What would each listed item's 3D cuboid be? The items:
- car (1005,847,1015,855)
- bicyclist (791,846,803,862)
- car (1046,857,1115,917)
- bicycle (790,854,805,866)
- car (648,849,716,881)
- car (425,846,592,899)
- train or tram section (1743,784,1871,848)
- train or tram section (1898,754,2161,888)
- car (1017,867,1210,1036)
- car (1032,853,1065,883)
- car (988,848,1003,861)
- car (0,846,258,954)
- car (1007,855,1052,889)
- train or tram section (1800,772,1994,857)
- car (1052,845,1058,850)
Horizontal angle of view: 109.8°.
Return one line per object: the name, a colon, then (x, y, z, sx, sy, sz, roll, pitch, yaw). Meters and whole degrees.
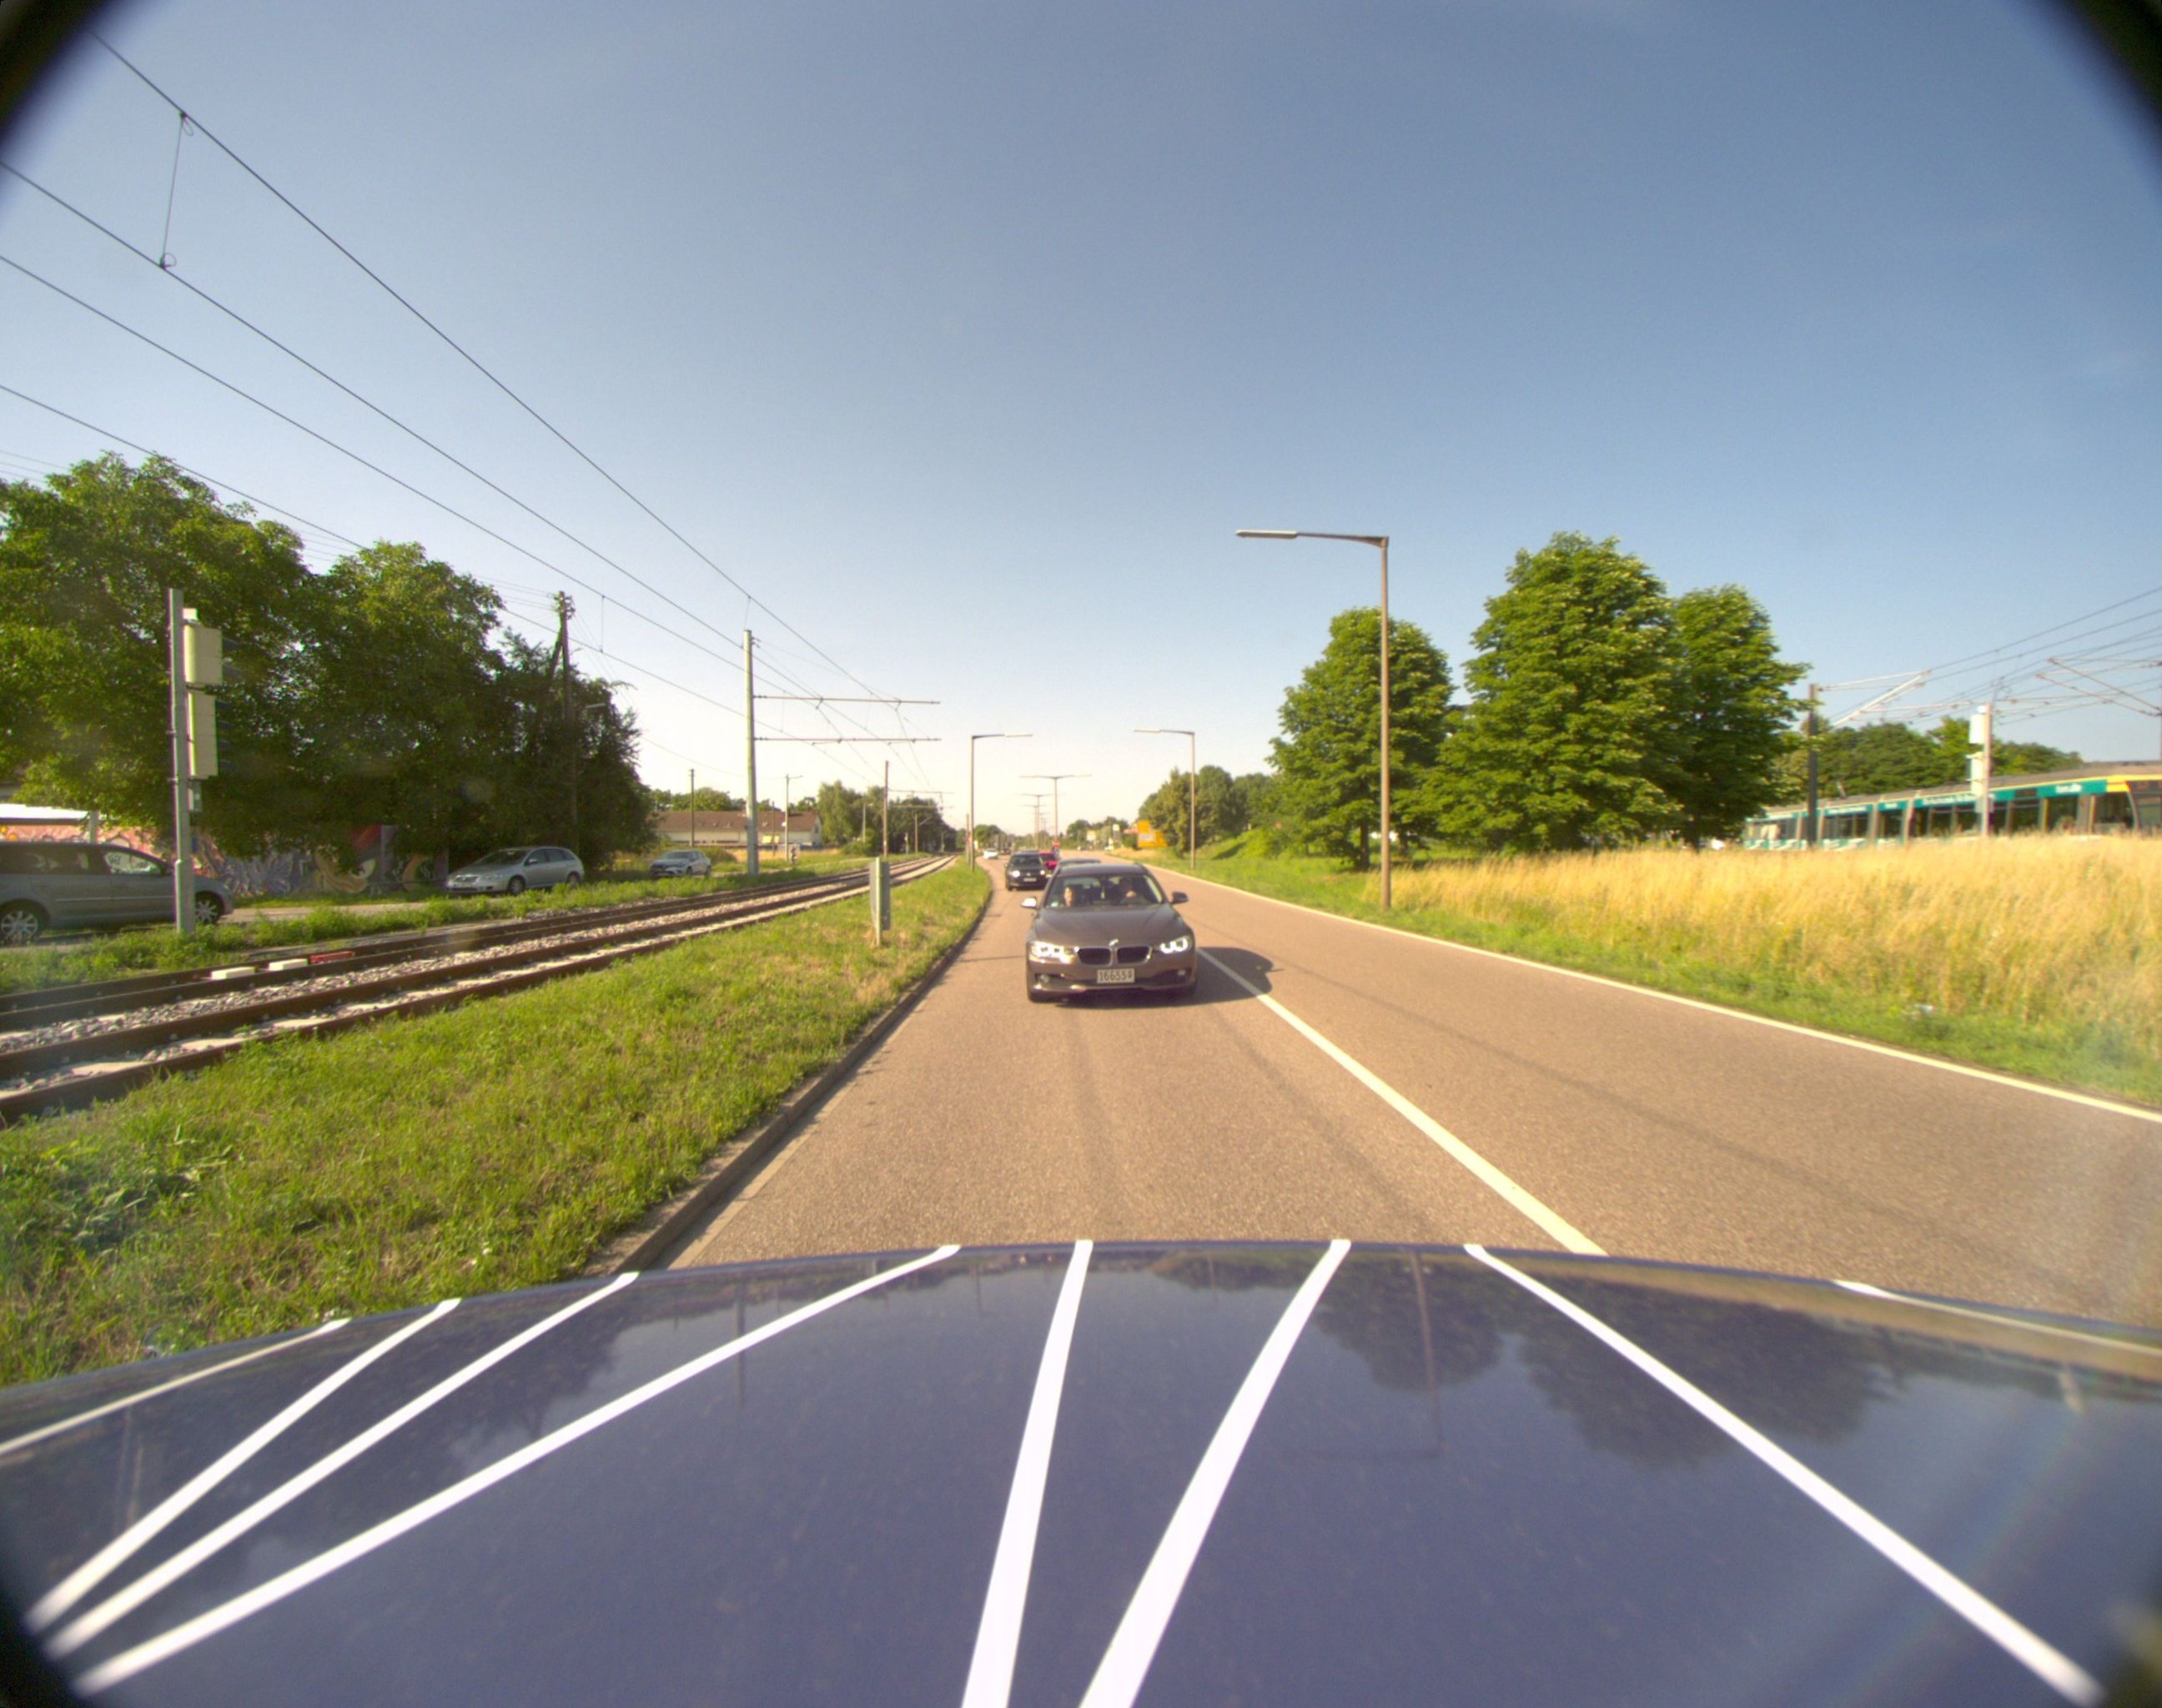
car: (-14.718, -0.623, 157.746, 1.838, 1.504, 4.150, -2, 1, -8)
bicyclist: (-22.249, -0.005, 59.580, 0.641, 1.226, 0.791, -2, 1, -5)
car: (0.001, 0.853, 21.474, 1.711, 1.444, 4.589, -2, 0, 0)
bicycle: (-22.239, 0.474, 59.612, 0.644, 0.904, 1.812, -2, 1, -5)
car: (-19.246, 0.479, 36.849, 1.539, 1.440, 4.128, 0, 0, -7)
car: (-18.422, 0.529, 24.793, 1.912, 1.581, 4.726, 0, 0, -1)
train or tram section: (45.488, -2.283, 48.132, 2.952, 3.464, 12.186, -1, 1, 30)
train or tram section: (33.094, -1.270, 25.877, 2.908, 3.549, 14.281, -1, 2, 29)
car: (0.276, 0.934, 9.033, 1.747, 1.444, 3.946, -2, 0, -1)
car: (-1.836, 0.741, 41.822, 1.608, 1.504, 4.266, -2, 1, -4)
car: (-11.463, 0.048, 101.722, 1.969, 1.609, 4.304, -1, 1, -7)
car: (-17.021, 0.670, 12.891, 1.527, 1.601, 4.481, 0, 0, -5)
car: (-2.315, 0.764, 33.981, 1.848, 1.347, 4.152, -2, 1, -4)
train or tram section: (39.497, -1.852, 37.484, 2.919, 3.434, 12.185, -1, 2, 29)
car: (-8.248, -1.951, 239.435, 1.564, 1.369, 3.382, -3, 2, -10)
